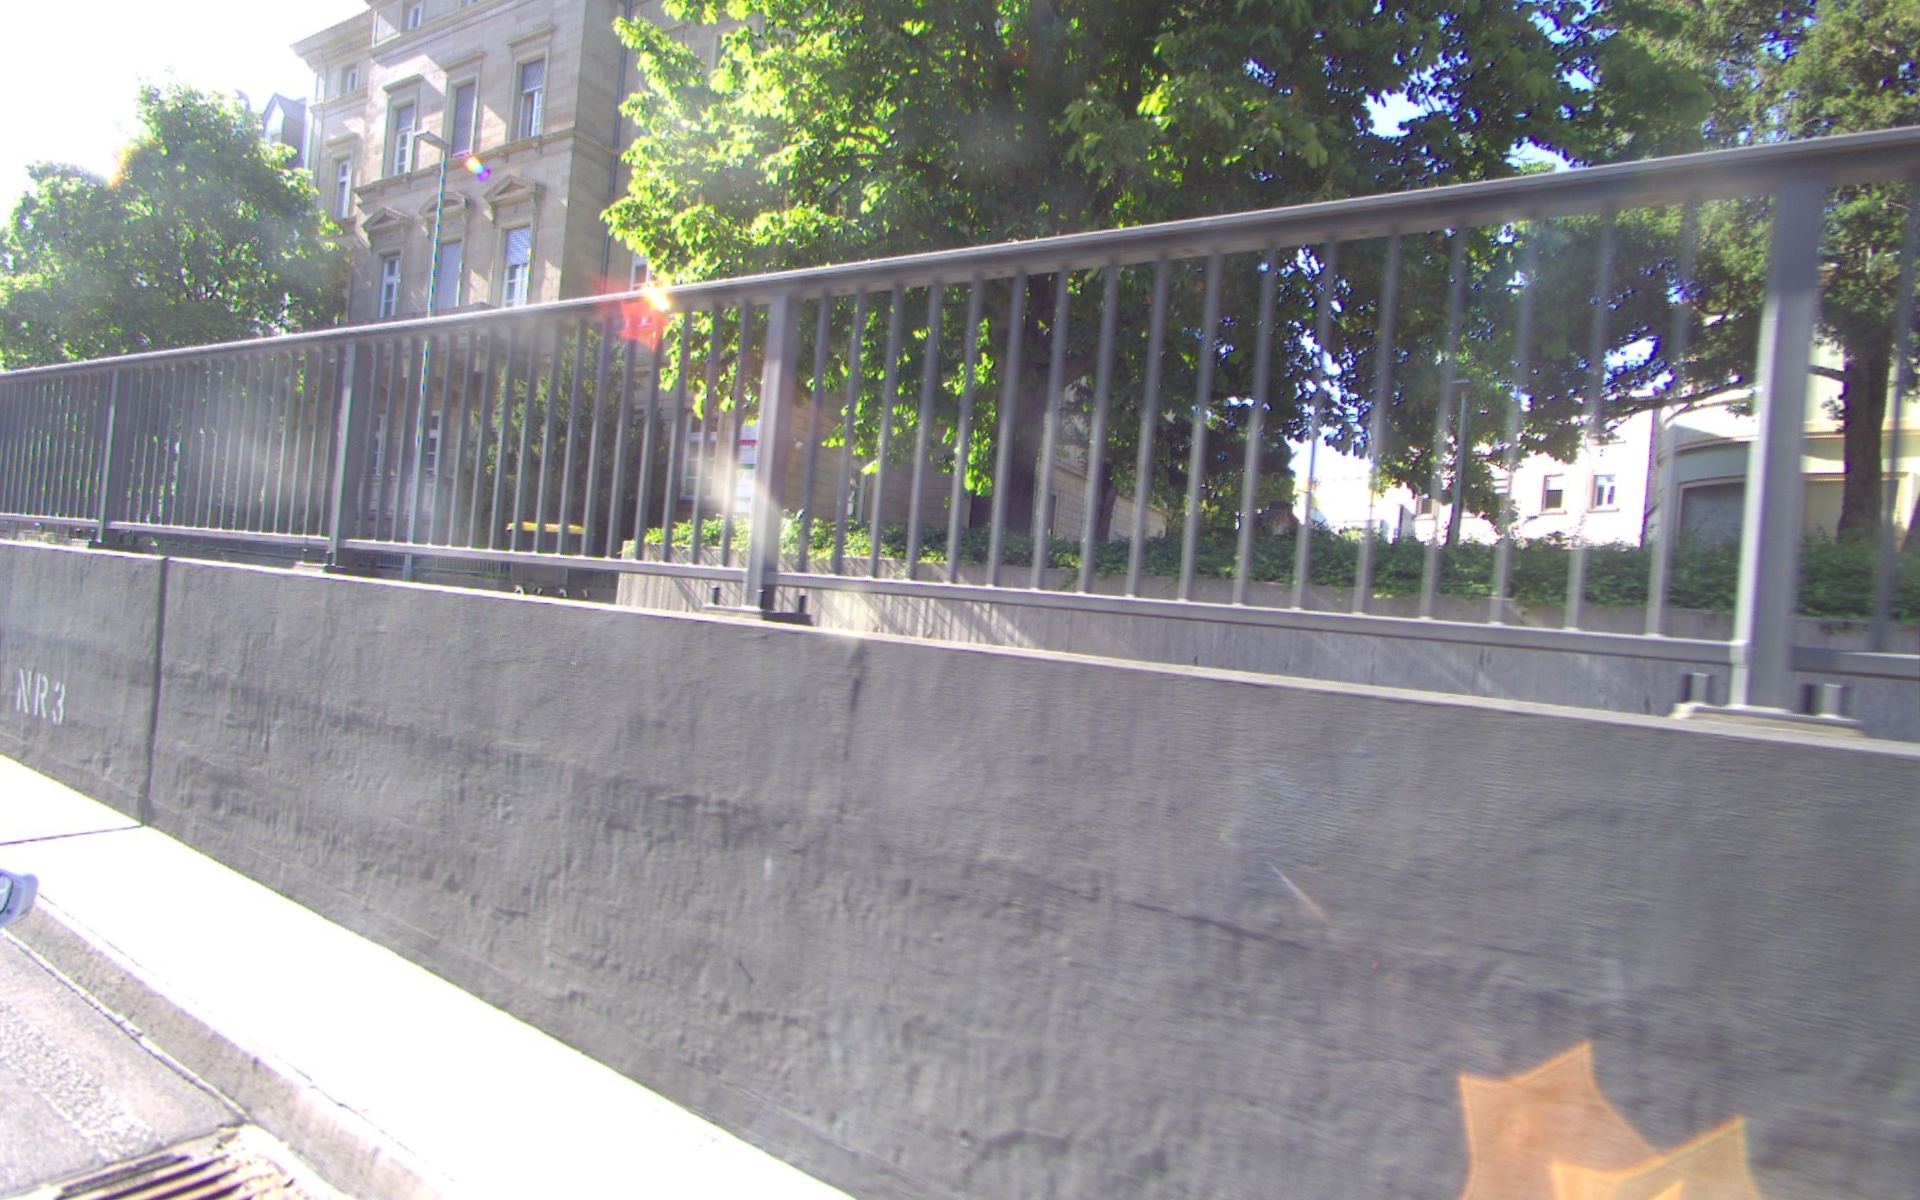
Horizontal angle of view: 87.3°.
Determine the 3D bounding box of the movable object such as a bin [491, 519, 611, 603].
[{"bbox_3d":[-7.361,-0.715,18.180,1.383,1.344,1.448,6,5,14],"label":"movable object such as a bin"}]
